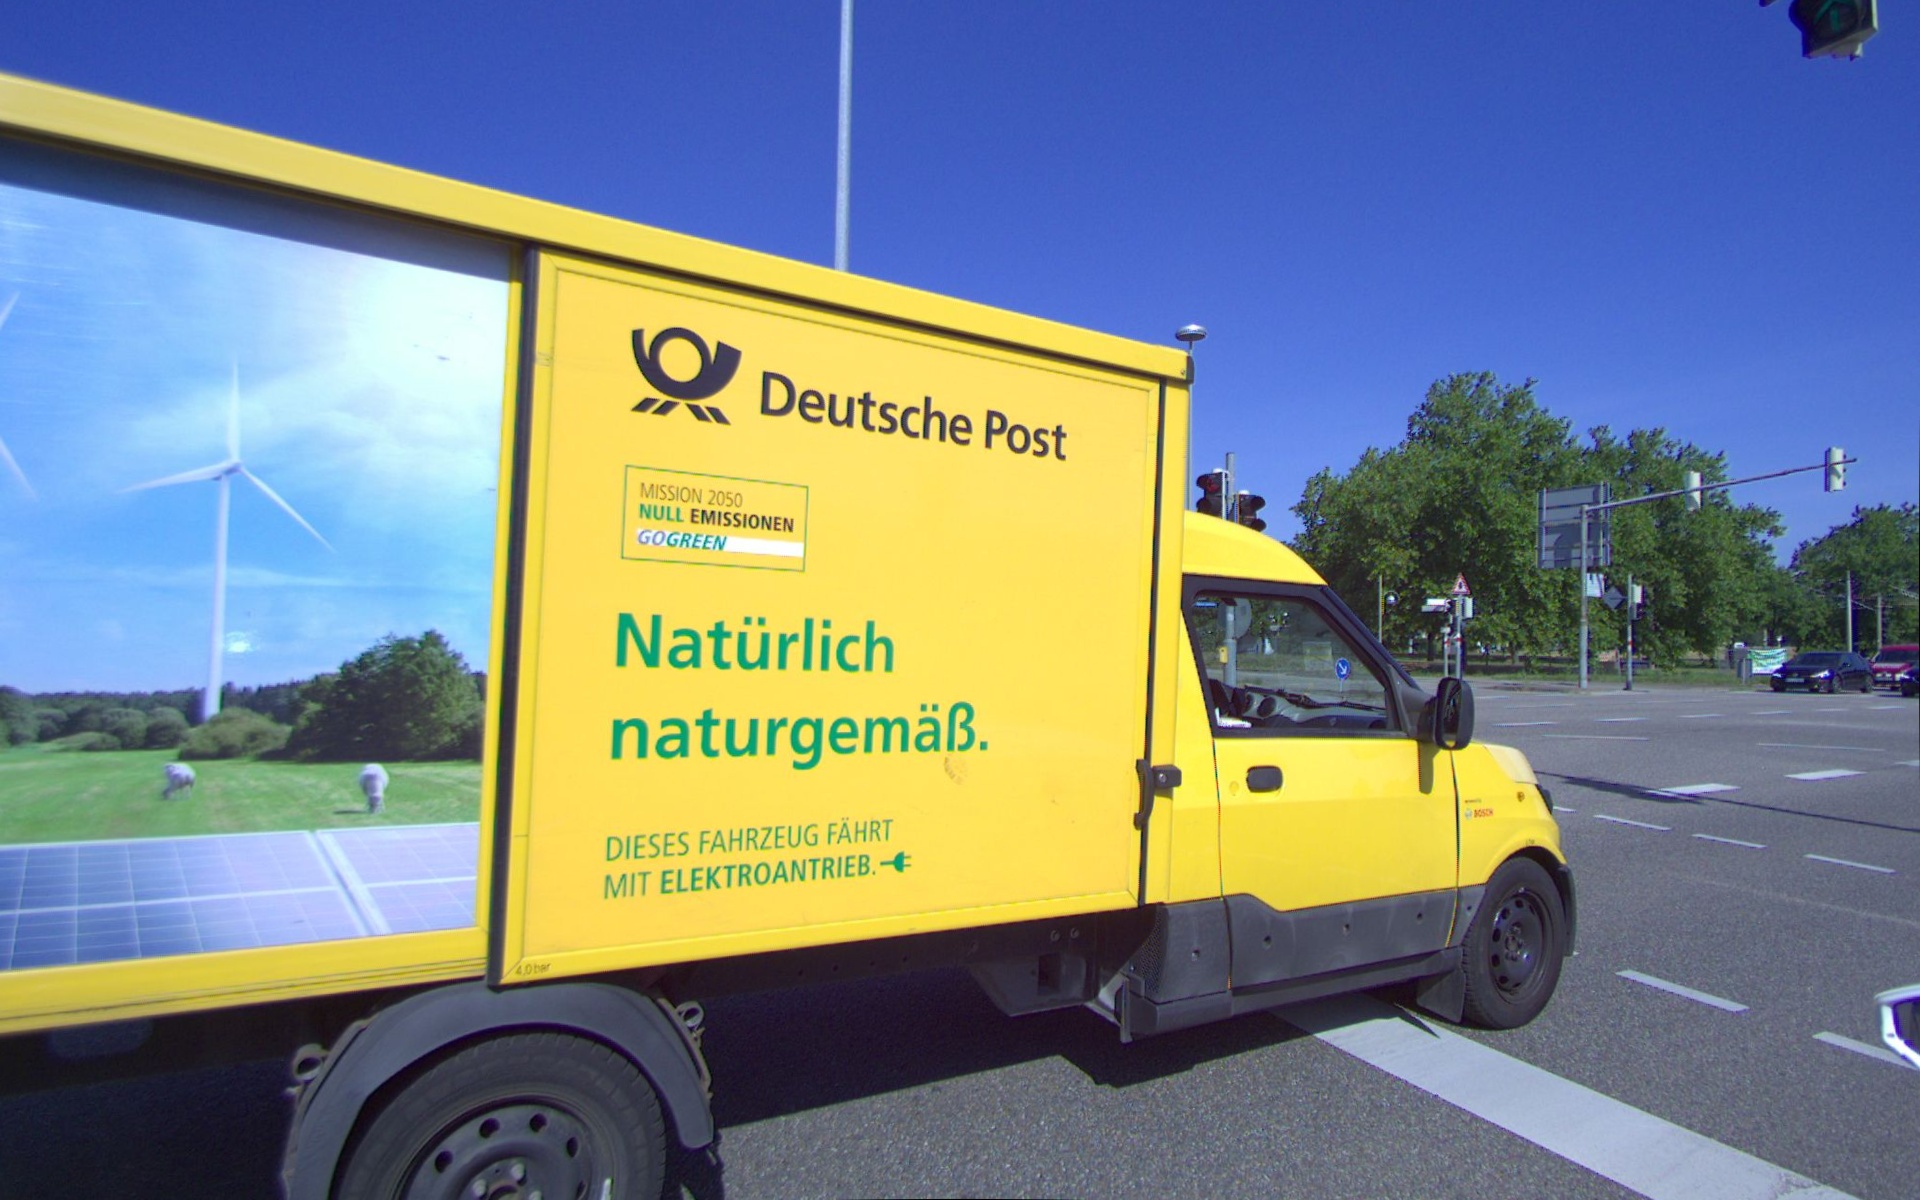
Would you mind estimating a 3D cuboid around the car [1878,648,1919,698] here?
[{"bbox_3d":[30.705,2.255,31.110,4.276,1.476,1.974,2,-2,-27],"label":"car"}]

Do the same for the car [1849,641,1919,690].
[{"bbox_3d":[35.646,2.475,38.197,4.184,1.793,1.695,2,-3,-33],"label":"car"}]

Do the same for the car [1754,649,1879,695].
[{"bbox_3d":[30.002,2.501,35.183,4.174,1.476,1.879,2,-2,-27],"label":"car"}]

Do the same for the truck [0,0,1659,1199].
[{"bbox_3d":[-0.385,0.207,3.327,5.847,2.490,2.102,2,0,-30],"label":"truck"}]
